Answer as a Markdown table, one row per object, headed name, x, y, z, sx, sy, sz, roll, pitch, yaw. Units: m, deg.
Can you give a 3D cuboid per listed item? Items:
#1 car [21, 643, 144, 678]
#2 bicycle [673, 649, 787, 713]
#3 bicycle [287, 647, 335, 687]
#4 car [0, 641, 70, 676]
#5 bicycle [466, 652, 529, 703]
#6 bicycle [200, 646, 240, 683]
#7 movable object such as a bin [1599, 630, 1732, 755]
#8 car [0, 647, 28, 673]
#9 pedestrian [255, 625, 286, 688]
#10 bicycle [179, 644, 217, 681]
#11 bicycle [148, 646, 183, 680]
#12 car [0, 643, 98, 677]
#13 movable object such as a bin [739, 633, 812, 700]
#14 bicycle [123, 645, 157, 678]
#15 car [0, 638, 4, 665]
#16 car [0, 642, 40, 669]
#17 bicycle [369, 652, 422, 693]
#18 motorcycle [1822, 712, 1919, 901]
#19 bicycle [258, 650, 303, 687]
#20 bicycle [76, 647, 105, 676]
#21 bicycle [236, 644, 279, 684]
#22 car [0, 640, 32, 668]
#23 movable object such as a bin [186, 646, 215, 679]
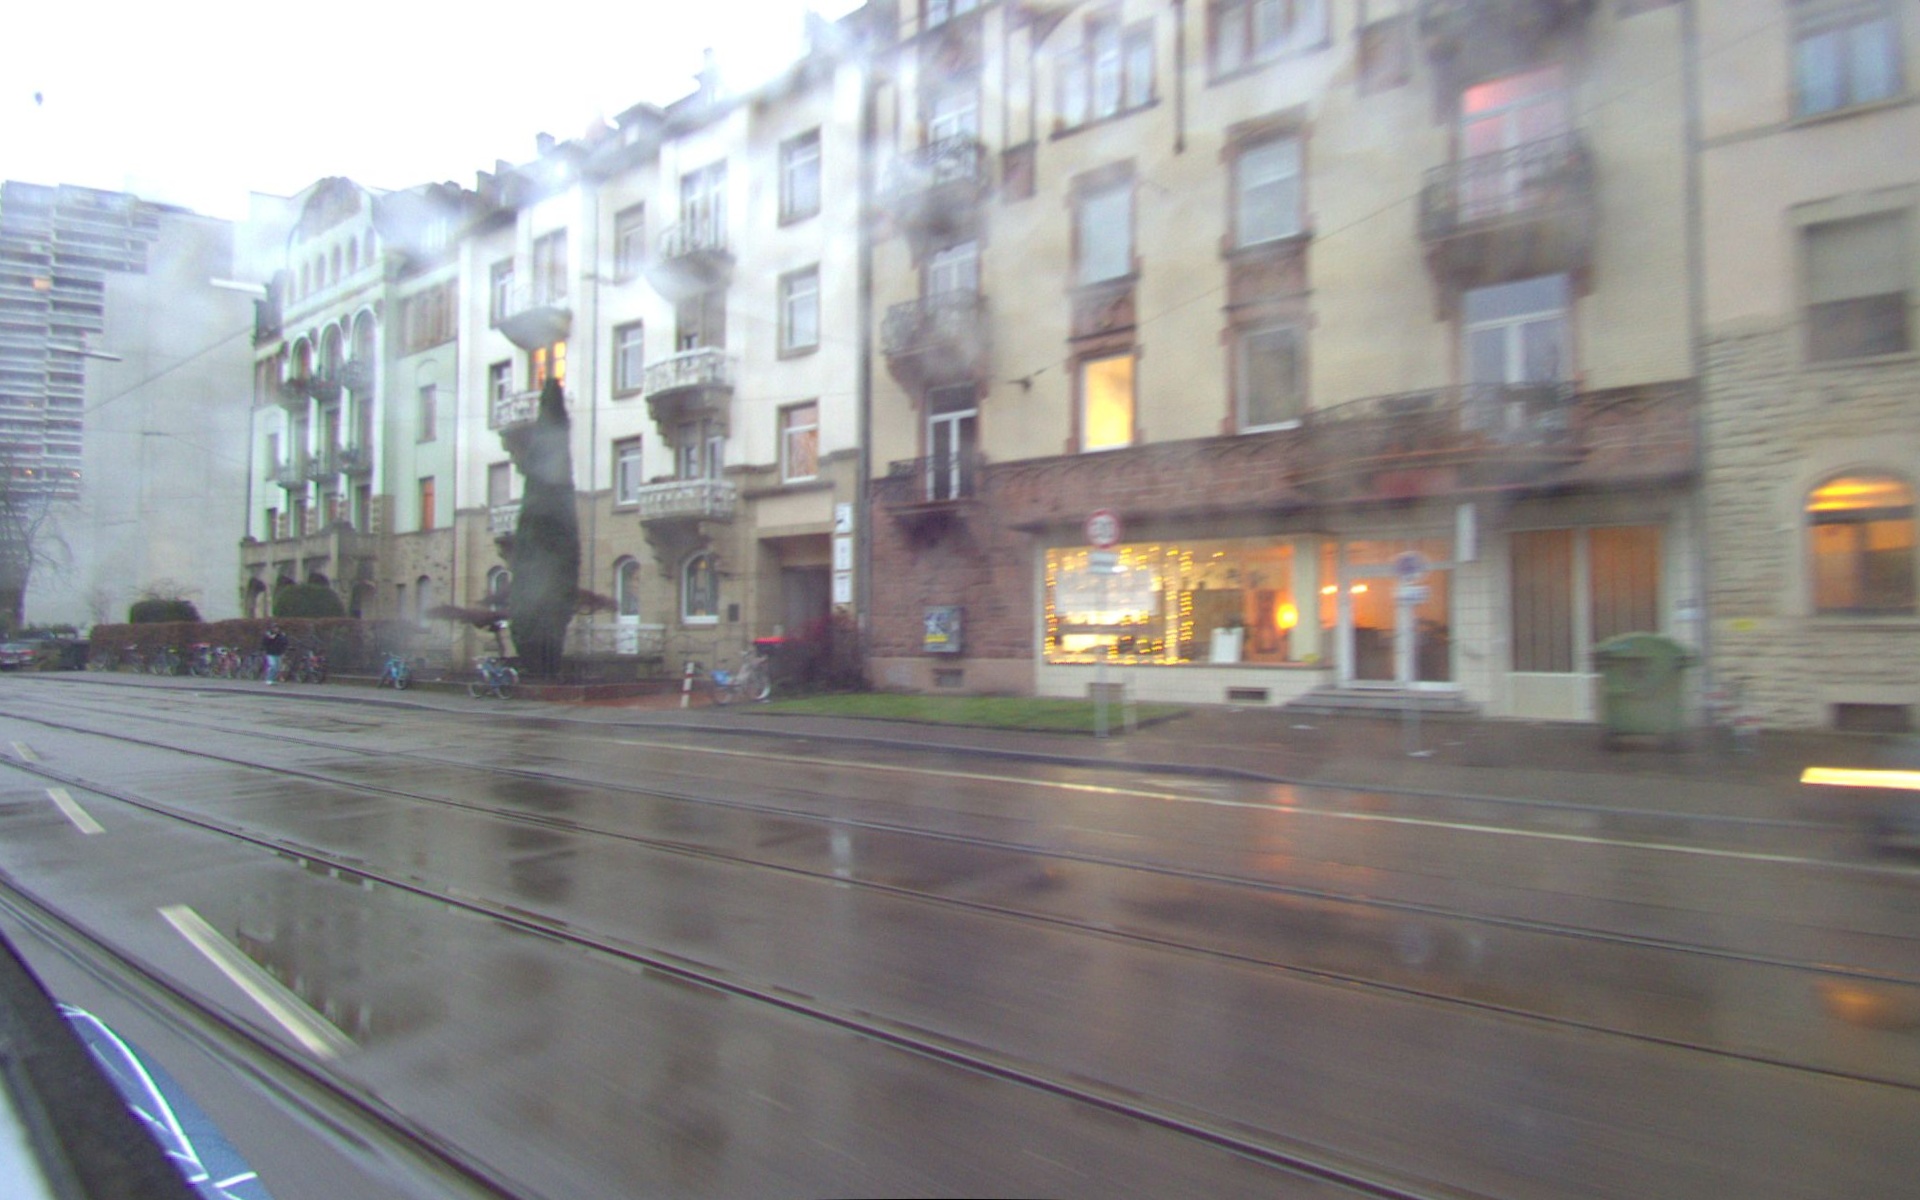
| name | x | y | z | sx | sy | sz | roll | pitch | yaw |
| --- | --- | --- | --- | --- | --- | --- | --- | --- | --- |
| car | -39.867 | 2.705 | 46.115 | 1.847 | 1.505 | 3.990 | -1 | -2 | 8 |
| bicycle | -4.627 | 1.601 | 20.538 | 0.694 | 1.114 | 2.327 | -2 | -1 | 38 |
| bicycle | -18.793 | 1.919 | 29.278 | 1.781 | 1.135 | 0.617 | -2 | -3 | 39 |
| car | -45.218 | 2.776 | 48.349 | 1.842 | 1.608 | 4.000 | 0 | -2 | -1 |
| bicycle | -10.495 | 1.746 | 22.962 | 1.660 | 1.101 | 0.617 | -2 | -3 | 39 |
| bicycle | -24.160 | 2.092 | 33.022 | 1.660 | 1.173 | 0.617 | -2 | -3 | 39 |
| movable object such as a bin | 8.710 | 1.096 | 12.496 | 1.248 | 1.431 | 1.255 | -2 | -3 | 37 |
| car | -47.707 | 2.911 | 49.053 | 1.687 | 1.262 | 3.667 | 0 | -3 | -2 |
| pedestrian | -19.472 | 1.572 | 28.581 | 0.644 | 1.738 | 0.567 | -1 | -1 | 40 |
| bicycle | -25.788 | 2.109 | 34.249 | 1.660 | 1.221 | 0.617 | -2 | -3 | 39 |
| bicycle | -28.752 | 2.269 | 36.630 | 1.660 | 1.221 | 0.617 | -2 | -3 | 39 |
| car | -42.372 | 2.730 | 46.719 | 1.739 | 1.497 | 4.000 | 0 | -2 | -1 |
| movable object such as a bin | -4.126 | 1.462 | 22.640 | 1.166 | 1.390 | 1.092 | -2 | 0 | 38 |
| bicycle | -30.849 | 2.294 | 38.068 | 1.660 | 1.221 | 0.617 | -2 | -3 | 39 |
| car | -58.322 | 3.013 | 58.747 | 1.842 | 1.608 | 4.000 | 0 | -2 | -1 |
| car | -52.964 | 3.013 | 55.269 | 1.842 | 1.460 | 4.000 | 0 | -2 | -1 |
| bicycle | -14.538 | 1.854 | 26.045 | 1.660 | 1.011 | 0.617 | -2 | -3 | 39 |
| motorcycle | 6.281 | 1.192 | 5.751 | 1.909 | 0.999 | 0.851 | -1 | -3 | 27 |
| bicycle | -20.406 | 2.028 | 30.373 | 1.725 | 1.074 | 0.617 | -2 | -3 | 39 |
| bicycle | -35.585 | 2.496 | 41.410 | 1.660 | 1.173 | 0.617 | -2 | -3 | 39 |
| bicycle | -21.893 | 1.984 | 31.528 | 1.660 | 1.221 | 0.617 | -2 | -3 | 39 |
| car | -55.670 | 3.069 | 57.680 | 1.842 | 1.608 | 4.000 | 0 | -2 | -1 |
| movable object such as a bin | -27.207 | 2.241 | 36.265 | 0.674 | 1.173 | 0.651 | -2 | -3 | 39 |
